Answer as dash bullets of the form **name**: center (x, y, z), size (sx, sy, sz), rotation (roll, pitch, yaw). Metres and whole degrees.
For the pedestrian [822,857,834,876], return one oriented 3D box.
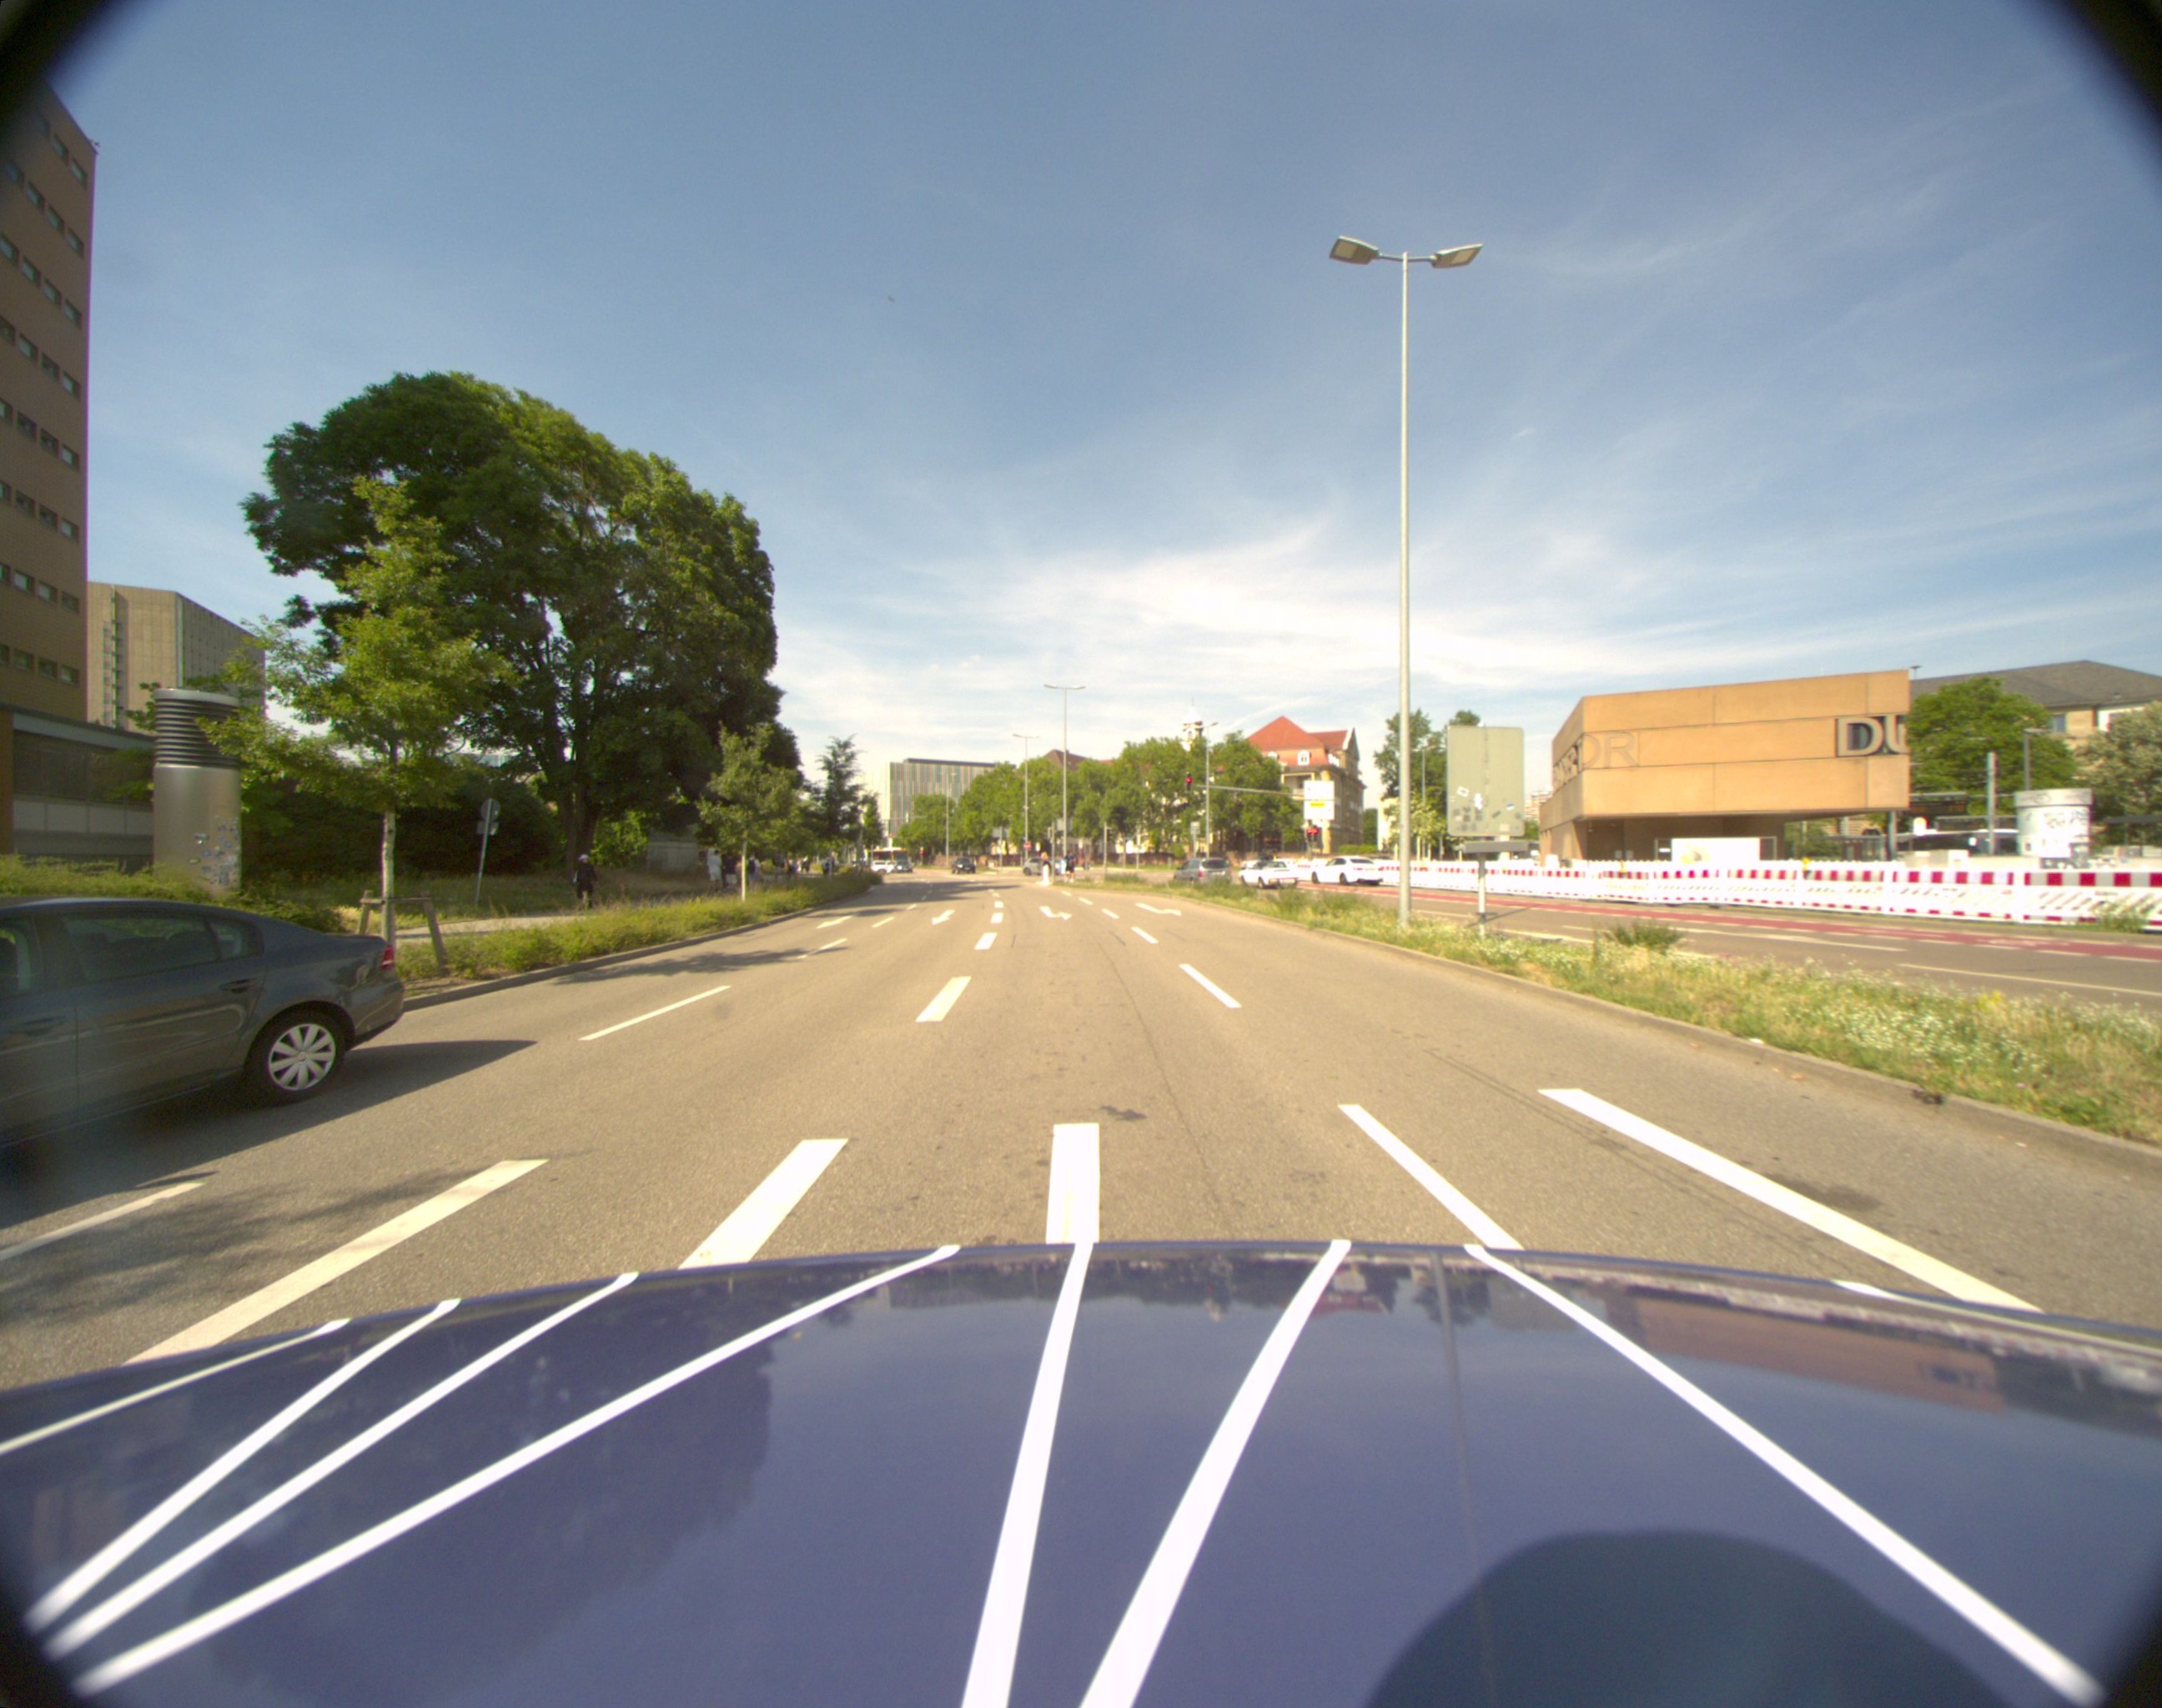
- **pedestrian**: center (-15.514, 0.758, 46.645), size (0.644, 1.125, 0.751), rotation (1, 1, -15)

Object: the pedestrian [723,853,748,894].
- **pedestrian**: center (-14.015, 0.782, 30.849), size (0.643, 1.617, 0.731), rotation (1, 1, 1)

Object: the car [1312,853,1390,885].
- **car**: center (13.111, 0.697, 37.113), size (1.804, 1.412, 3.996), rotation (-2, 1, -10)

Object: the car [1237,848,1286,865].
- **car**: center (16.541, 0.220, 69.705), size (4.117, 1.435, 1.756), rotation (-3, 1, -24)

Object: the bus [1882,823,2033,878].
- **bus**: center (59.544, -0.213, 52.128), size (2.751, 3.303, 11.811), rotation (0, 0, 28)

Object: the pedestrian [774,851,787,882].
- **pedestrian**: center (-17.188, 0.685, 43.462), size (0.644, 1.754, 0.474), rotation (1, 1, -20)

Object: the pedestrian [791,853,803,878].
- **pedestrian**: center (-16.380, 0.663, 43.787), size (0.644, 1.438, 0.568), rotation (1, 1, -20)

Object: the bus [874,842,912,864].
- **bus**: center (-27.965, -0.102, 112.674), size (2.801, 3.020, 12.122), rotation (0, 0, -27)

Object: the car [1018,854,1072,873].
- **car**: center (-2.974, 0.806, 62.388), size (4.086, 1.427, 1.838), rotation (-2, 1, 33)

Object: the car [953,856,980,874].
- **car**: center (-11.489, 1.098, 75.952), size (1.761, 1.719, 4.106), rotation (-3, 1, -20)

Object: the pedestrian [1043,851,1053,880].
- **pedestrian**: center (-1.900, 0.654, 43.776), size (0.541, 1.664, 0.752), rotation (0, 0, 1)

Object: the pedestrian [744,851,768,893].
- **pedestrian**: center (-13.343, 0.730, 31.171), size (0.643, 1.664, 0.752), rotation (1, 1, 1)

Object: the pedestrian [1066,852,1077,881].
- **pedestrian**: center (-0.540, 0.722, 44.601), size (0.643, 1.664, 0.752), rotation (0, 0, 1)

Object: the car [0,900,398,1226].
- **car**: center (-6.069, 1.110, 3.552), size (1.635, 1.427, 4.528), rotation (-1, 1, -1)

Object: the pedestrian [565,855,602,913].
- **pedestrian**: center (-14.611, 0.857, 22.314), size (0.592, 1.654, 0.731), rotation (1, 1, 1)

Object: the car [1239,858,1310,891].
- **car**: center (8.790, 0.896, 34.861), size (1.600, 1.279, 3.996), rotation (-2, 1, -10)

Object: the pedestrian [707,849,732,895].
- **pedestrian**: center (-14.680, 0.705, 30.855), size (0.643, 1.827, 0.731), rotation (1, 1, 1)

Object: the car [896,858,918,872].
- **car**: center (-19.675, 1.224, 85.845), size (1.653, 1.416, 4.112), rotation (-3, 1, -22)

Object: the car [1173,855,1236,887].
- **car**: center (5.654, 0.747, 35.229), size (1.600, 1.279, 3.996), rotation (-2, 1, -10)

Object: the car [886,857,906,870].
- **car**: center (-22.254, 1.136, 91.163), size (1.653, 1.416, 4.112), rotation (-3, 1, -22)

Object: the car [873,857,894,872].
- **car**: center (-20.972, 1.128, 80.608), size (1.684, 1.466, 3.753), rotation (-3, 1, -20)
